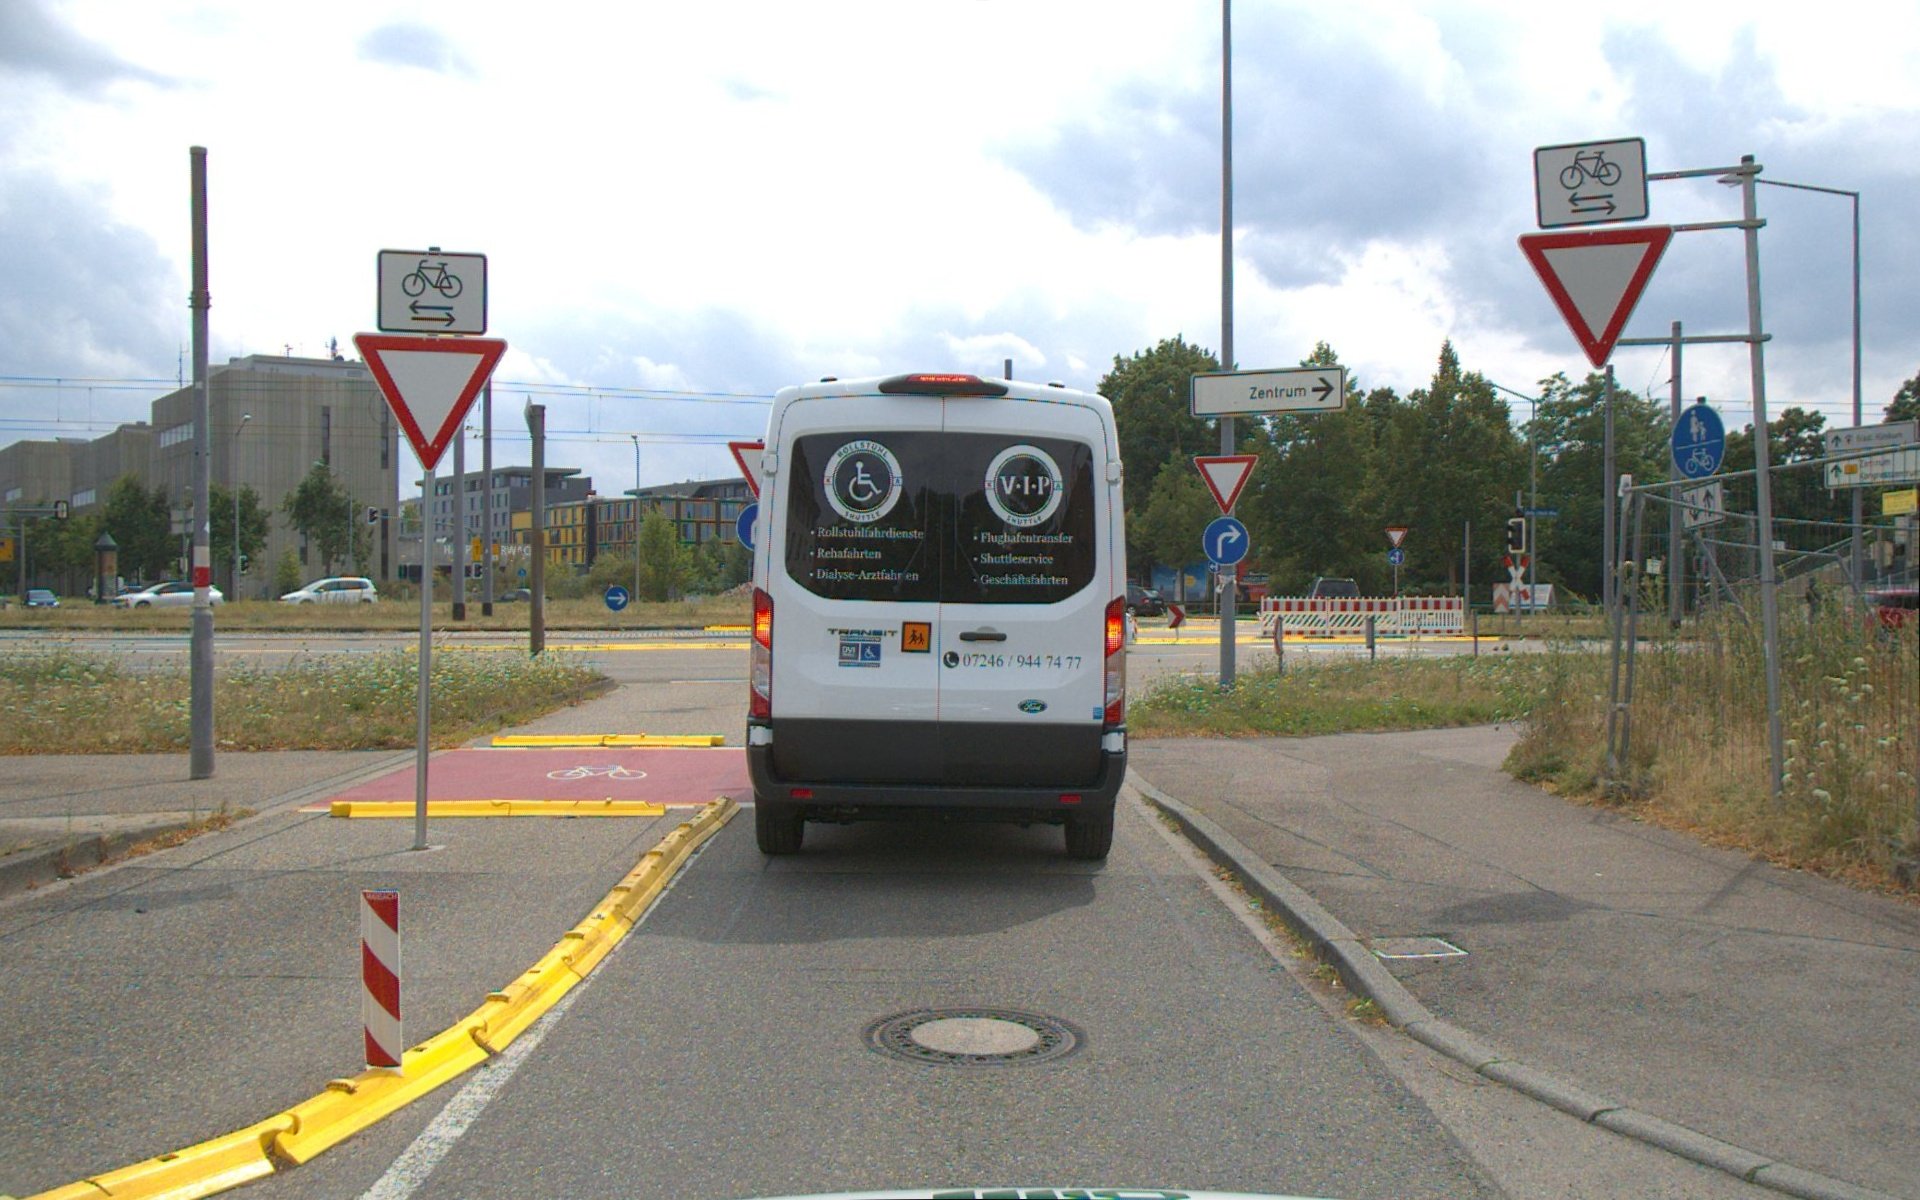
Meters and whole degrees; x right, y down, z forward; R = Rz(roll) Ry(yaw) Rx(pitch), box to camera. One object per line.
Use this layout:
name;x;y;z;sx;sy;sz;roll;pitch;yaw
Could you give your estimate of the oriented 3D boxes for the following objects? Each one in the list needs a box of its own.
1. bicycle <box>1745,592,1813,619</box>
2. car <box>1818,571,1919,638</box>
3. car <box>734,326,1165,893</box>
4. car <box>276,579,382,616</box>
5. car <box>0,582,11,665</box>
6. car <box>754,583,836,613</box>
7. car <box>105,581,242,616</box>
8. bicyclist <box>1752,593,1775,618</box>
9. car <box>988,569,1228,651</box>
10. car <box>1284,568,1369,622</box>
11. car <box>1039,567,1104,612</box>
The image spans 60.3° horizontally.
bicycle;29.991;0.192;60.568;2.162;0.954;0.611;0;-1;39
car;24.300;0.104;41.361;4.637;1.646;2.001;0;0;5
car;-0.005;0.033;10.817;2.082;2.745;5.632;0;0;1
car;-29.772;-0.144;78.109;1.906;1.695;4.324;0;0;45
car;-19.496;0.431;29.623;4.016;1.523;1.803;0;0;5
car;-9.362;-0.120;94.078;4.306;1.695;1.914;0;0;-36
car;-34.696;-0.074;73.043;1.967;1.508;5.146;0;0;45
bicyclist;29.590;0.215;60.892;0.646;0.899;0.604;0;-1;38
car;3.103;0.193;34.747;4.672;1.646;1.986;0;0;-23
car;12.559;-0.145;56.888;1.953;1.780;3.998;0;-1;-2
car;5.900;-0.539;88.014;1.995;2.319;4.134;1;-1;-20
